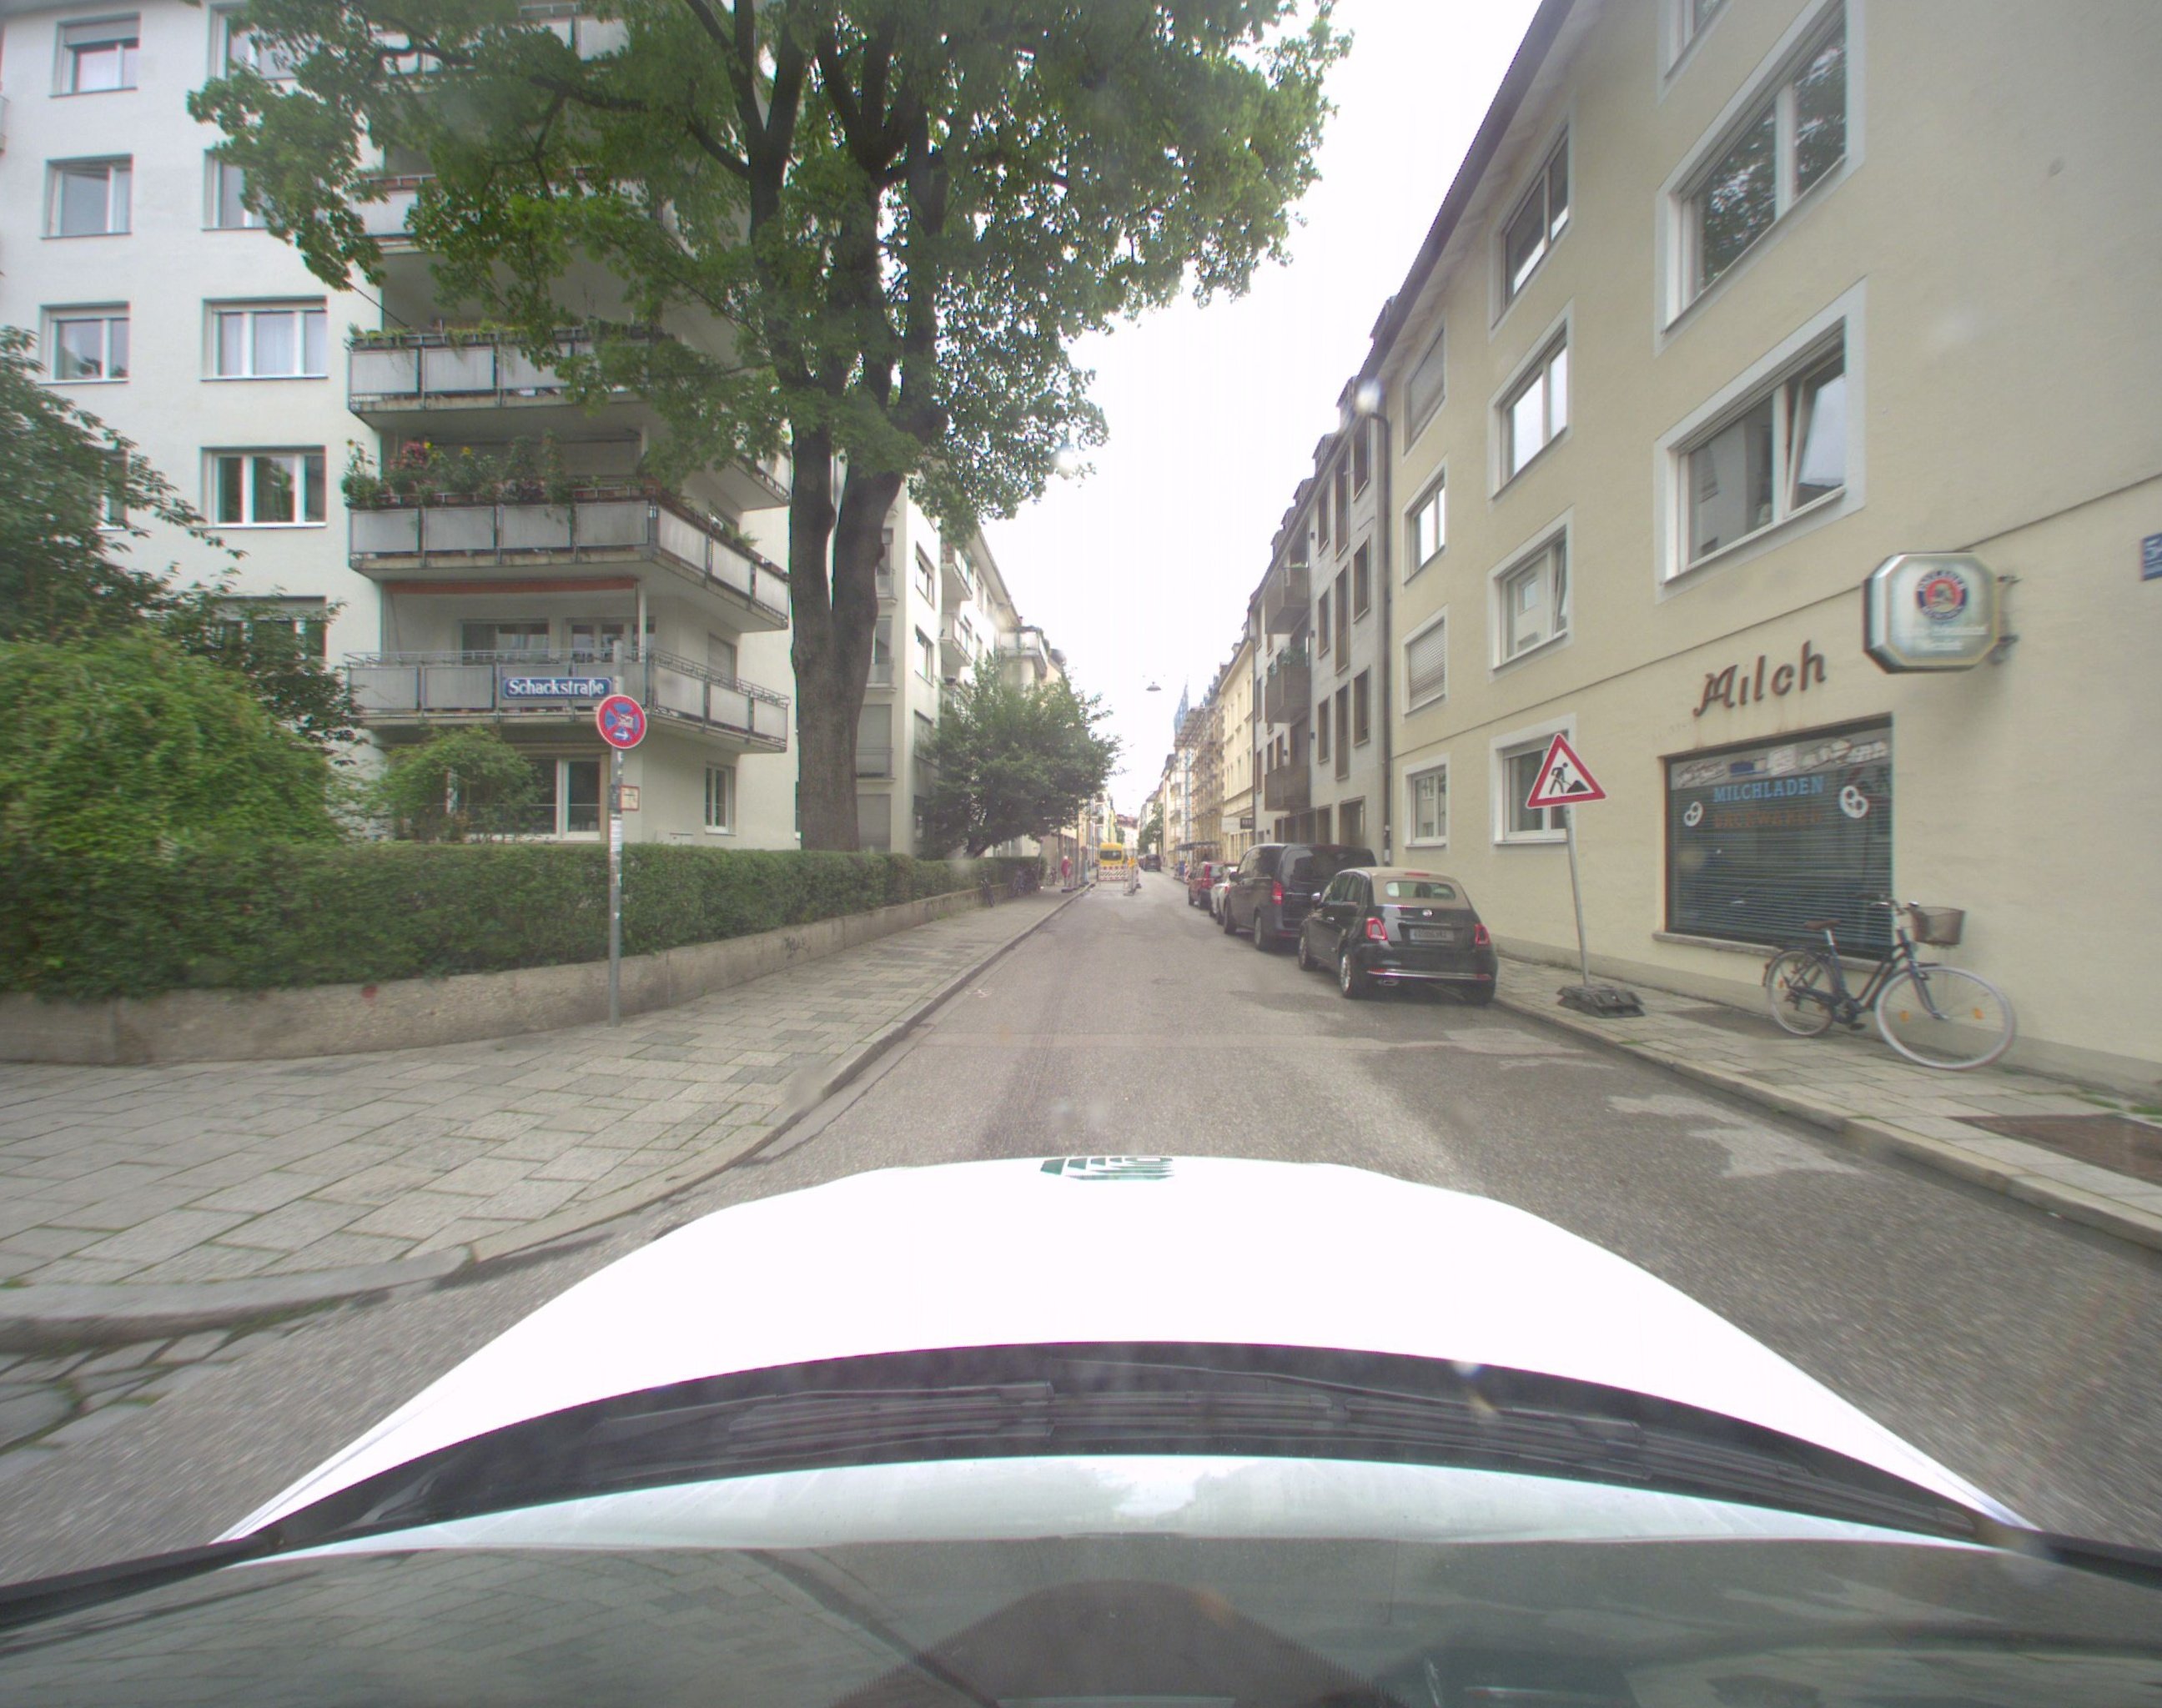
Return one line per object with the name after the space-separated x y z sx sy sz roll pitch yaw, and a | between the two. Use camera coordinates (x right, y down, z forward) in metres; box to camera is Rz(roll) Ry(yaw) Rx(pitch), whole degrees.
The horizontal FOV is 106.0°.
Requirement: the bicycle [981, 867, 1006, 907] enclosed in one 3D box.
-2.520 0.946 23.551 0.345 1.072 1.781 3 0 3 | bicycle

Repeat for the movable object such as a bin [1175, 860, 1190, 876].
8.779 1.213 70.525 1.078 1.346 1.323 -3 -1 15 | movable object such as a bin

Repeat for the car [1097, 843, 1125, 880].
2.280 0.570 61.119 1.986 2.579 6.740 -1 0 2 | car

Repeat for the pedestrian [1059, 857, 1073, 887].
-0.760 0.926 42.733 0.635 1.532 0.748 -1 -1 5 | pedestrian

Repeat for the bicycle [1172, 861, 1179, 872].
9.981 1.314 86.014 0.635 1.153 1.917 -3 0 4 | bicycle

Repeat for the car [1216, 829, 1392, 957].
3.952 0.626 15.378 1.983 1.977 4.885 2 0 1 | car

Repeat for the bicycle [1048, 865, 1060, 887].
-1.424 1.142 42.826 0.375 1.063 1.599 6 0 4 | bicycle

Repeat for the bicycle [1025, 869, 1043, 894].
-1.909 1.100 33.024 0.441 0.978 1.855 3 -1 4 | bicycle

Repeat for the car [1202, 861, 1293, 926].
4.227 0.939 21.269 1.760 1.461 4.385 2 0 4 | car

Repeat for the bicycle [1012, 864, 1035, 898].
-2.033 0.960 28.997 0.486 1.151 1.700 3 -1 4 | bicycle

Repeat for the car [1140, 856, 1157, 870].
8.510 1.126 103.123 1.886 1.641 4.324 0 0 2 | car

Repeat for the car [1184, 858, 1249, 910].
4.408 0.935 26.963 1.763 1.524 4.072 2 0 5 | car

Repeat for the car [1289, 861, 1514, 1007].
3.832 0.860 10.366 1.628 1.471 3.541 2 0 3 | car

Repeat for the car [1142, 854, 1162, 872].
8.098 0.969 92.960 1.986 1.932 4.662 1 0 2 | car

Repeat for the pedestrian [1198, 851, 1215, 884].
7.076 0.760 45.885 0.726 1.752 0.989 -4 -1 2 | pedestrian

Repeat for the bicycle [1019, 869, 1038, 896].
-2.017 1.085 31.464 0.434 0.978 1.700 3 -1 4 | bicycle

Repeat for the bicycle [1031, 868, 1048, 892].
-1.780 1.122 34.887 0.441 0.978 1.818 3 -1 4 | bicycle

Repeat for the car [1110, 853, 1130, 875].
3.689 0.915 76.254 1.720 1.897 5.512 -2 -1 3 | car

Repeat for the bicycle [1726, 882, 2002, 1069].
5.949 0.842 6.350 0.408 1.214 1.820 -2 -2 3 | bicycle
